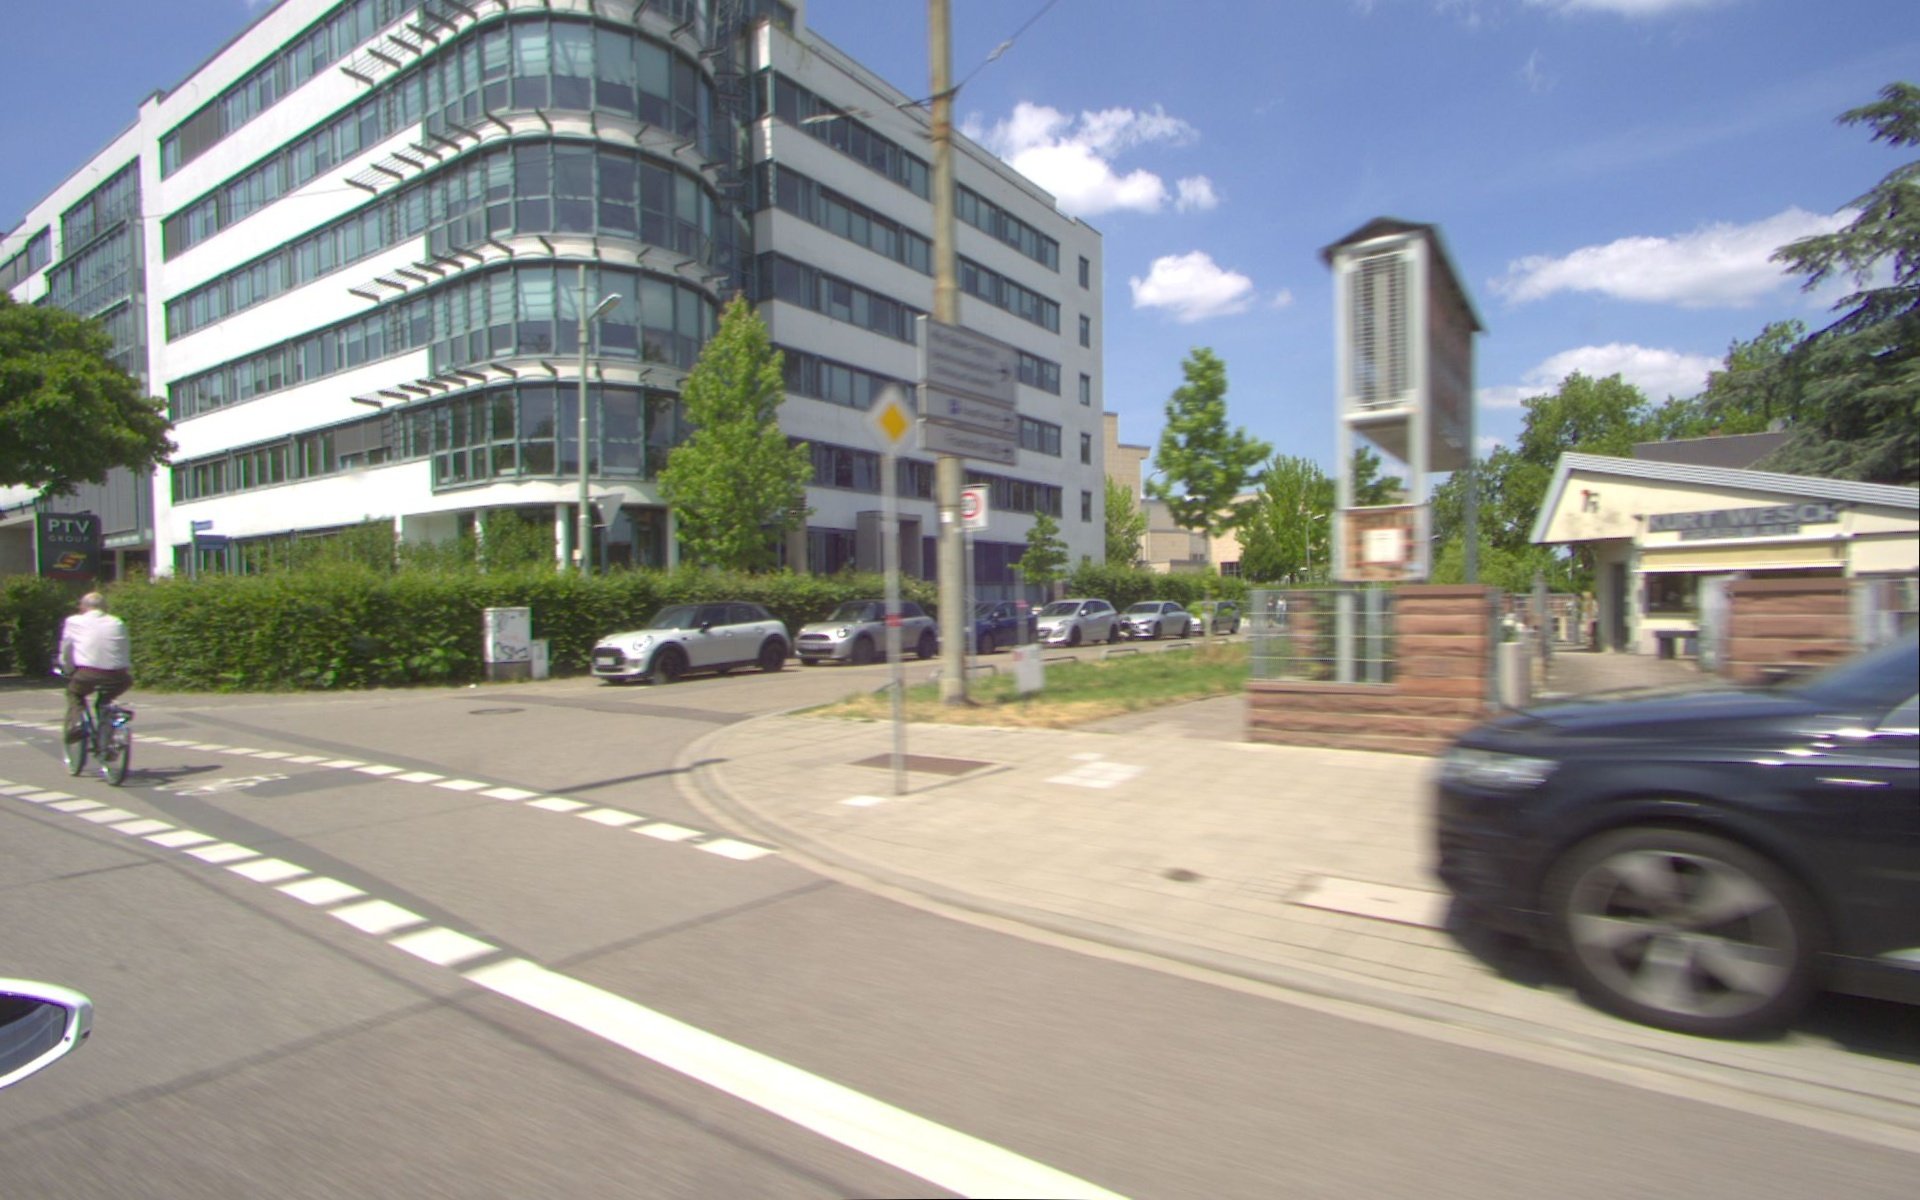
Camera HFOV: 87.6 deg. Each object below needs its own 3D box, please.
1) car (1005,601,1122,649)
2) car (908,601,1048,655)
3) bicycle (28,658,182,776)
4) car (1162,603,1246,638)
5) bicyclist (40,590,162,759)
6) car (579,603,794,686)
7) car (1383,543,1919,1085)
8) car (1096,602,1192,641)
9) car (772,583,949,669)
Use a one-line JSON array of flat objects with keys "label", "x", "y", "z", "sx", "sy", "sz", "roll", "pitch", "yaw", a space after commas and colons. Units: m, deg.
[{"label": "car", "x": 3.306, "y": 0.744, "z": 31.393, "sx": 1.973, "sy": 1.385, "sz": 3.975, "roll": -1, "pitch": 0, "yaw": 35}, {"label": "car", "x": 0.576, "y": 0.722, "z": 27.549, "sx": 1.973, "sy": 1.352, "sz": 3.975, "roll": -1, "pitch": 0, "yaw": 35}, {"label": "bicycle", "x": -7.574, "y": 0.987, "z": 8.838, "sx": 2.019, "sy": 0.899, "sz": 0.464, "roll": -1, "pitch": 0, "yaw": 33}, {"label": "car", "x": 10.148, "y": 0.811, "z": 41.457, "sx": 1.973, "sy": 1.352, "sz": 4.323, "roll": -1, "pitch": 0, "yaw": 35}, {"label": "bicyclist", "x": -7.578, "y": 0.628, "z": 8.834, "sx": 0.829, "sy": 1.415, "sz": 0.590, "roll": 0, "pitch": 0, "yaw": 33}, {"label": "car", "x": -5.040, "y": 0.767, "z": 18.873, "sx": 1.535, "sy": 1.292, "sz": 3.786, "roll": -1, "pitch": 1, "yaw": 35}, {"label": "car", "x": 4.254, "y": 0.648, "z": 3.352, "sx": 4.937, "sy": 1.709, "sz": 1.856, "roll": -1, "pitch": 1, "yaw": 38}, {"label": "car", "x": 6.769, "y": 0.747, "z": 36.609, "sx": 1.973, "sy": 1.352, "sz": 3.975, "roll": -1, "pitch": 0, "yaw": 35}, {"label": "car", "x": -2.235, "y": 0.563, "z": 23.519, "sx": 1.934, "sy": 1.823, "sz": 4.134, "roll": -1, "pitch": 0, "yaw": 35}]
